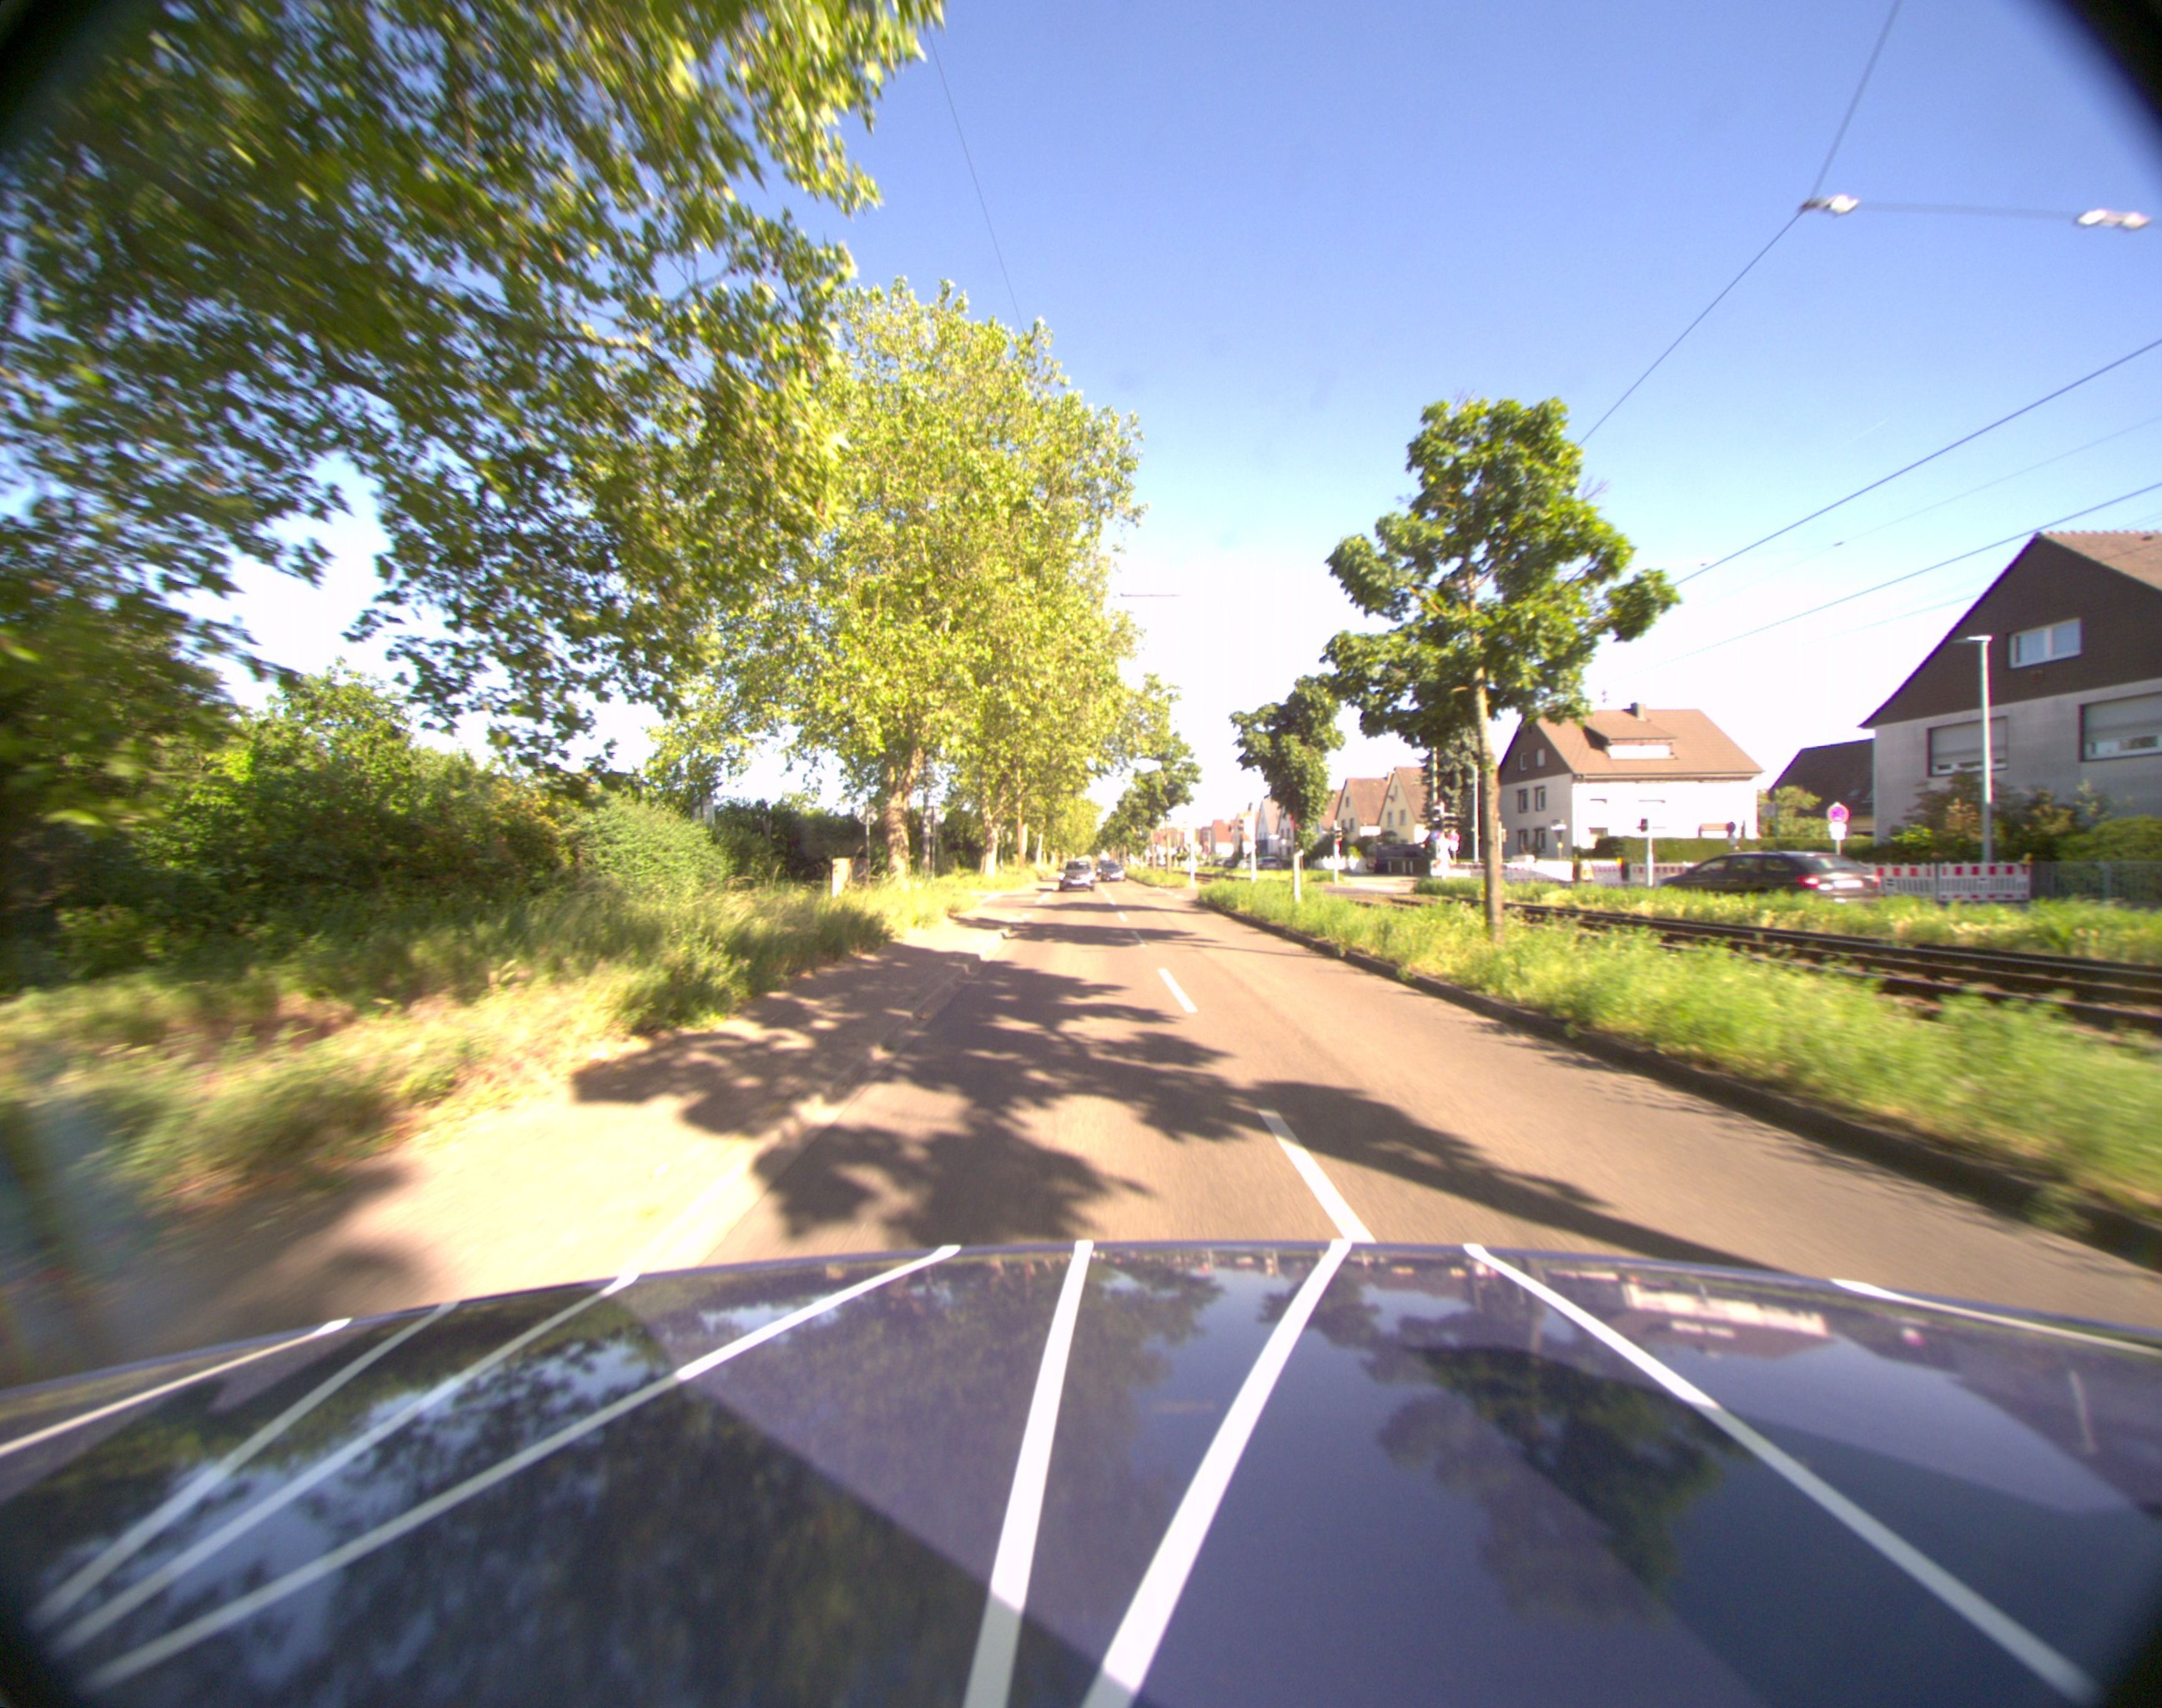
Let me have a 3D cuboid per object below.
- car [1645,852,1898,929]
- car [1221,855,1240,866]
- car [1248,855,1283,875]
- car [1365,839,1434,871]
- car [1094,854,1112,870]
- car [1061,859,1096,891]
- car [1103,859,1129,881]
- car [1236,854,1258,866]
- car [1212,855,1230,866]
[{"bbox_3d":[16.149,0.763,18.214,1.665,1.543,4.810,-2,0,0],"label":"car"},{"bbox_3d":[22.361,0.995,113.909,1.931,1.486,4.256,-2,0,0],"label":"car"},{"bbox_3d":[16.513,0.939,68.176,1.998,1.594,4.473,-2,0,0],"label":"car"},{"bbox_3d":[27.263,0.081,65.116,5.041,2.609,2.102,-1,0,0],"label":"car"},{"bbox_3d":[2.281,0.836,79.099,1.692,1.499,3.582,-2,0,1],"label":"car"},{"bbox_3d":[-0.103,1.045,38.829,1.692,1.499,3.582,-1,0,1],"label":"car"},{"bbox_3d":[2.564,1.164,56.200,1.692,1.499,3.582,-2,0,1],"label":"car"},{"bbox_3d":[21.846,0.753,100.016,1.998,1.418,4.410,-2,0,2],"label":"car"},{"bbox_3d":[22.526,1.067,122.553,1.998,1.703,4.390,-2,0,0],"label":"car"}]
